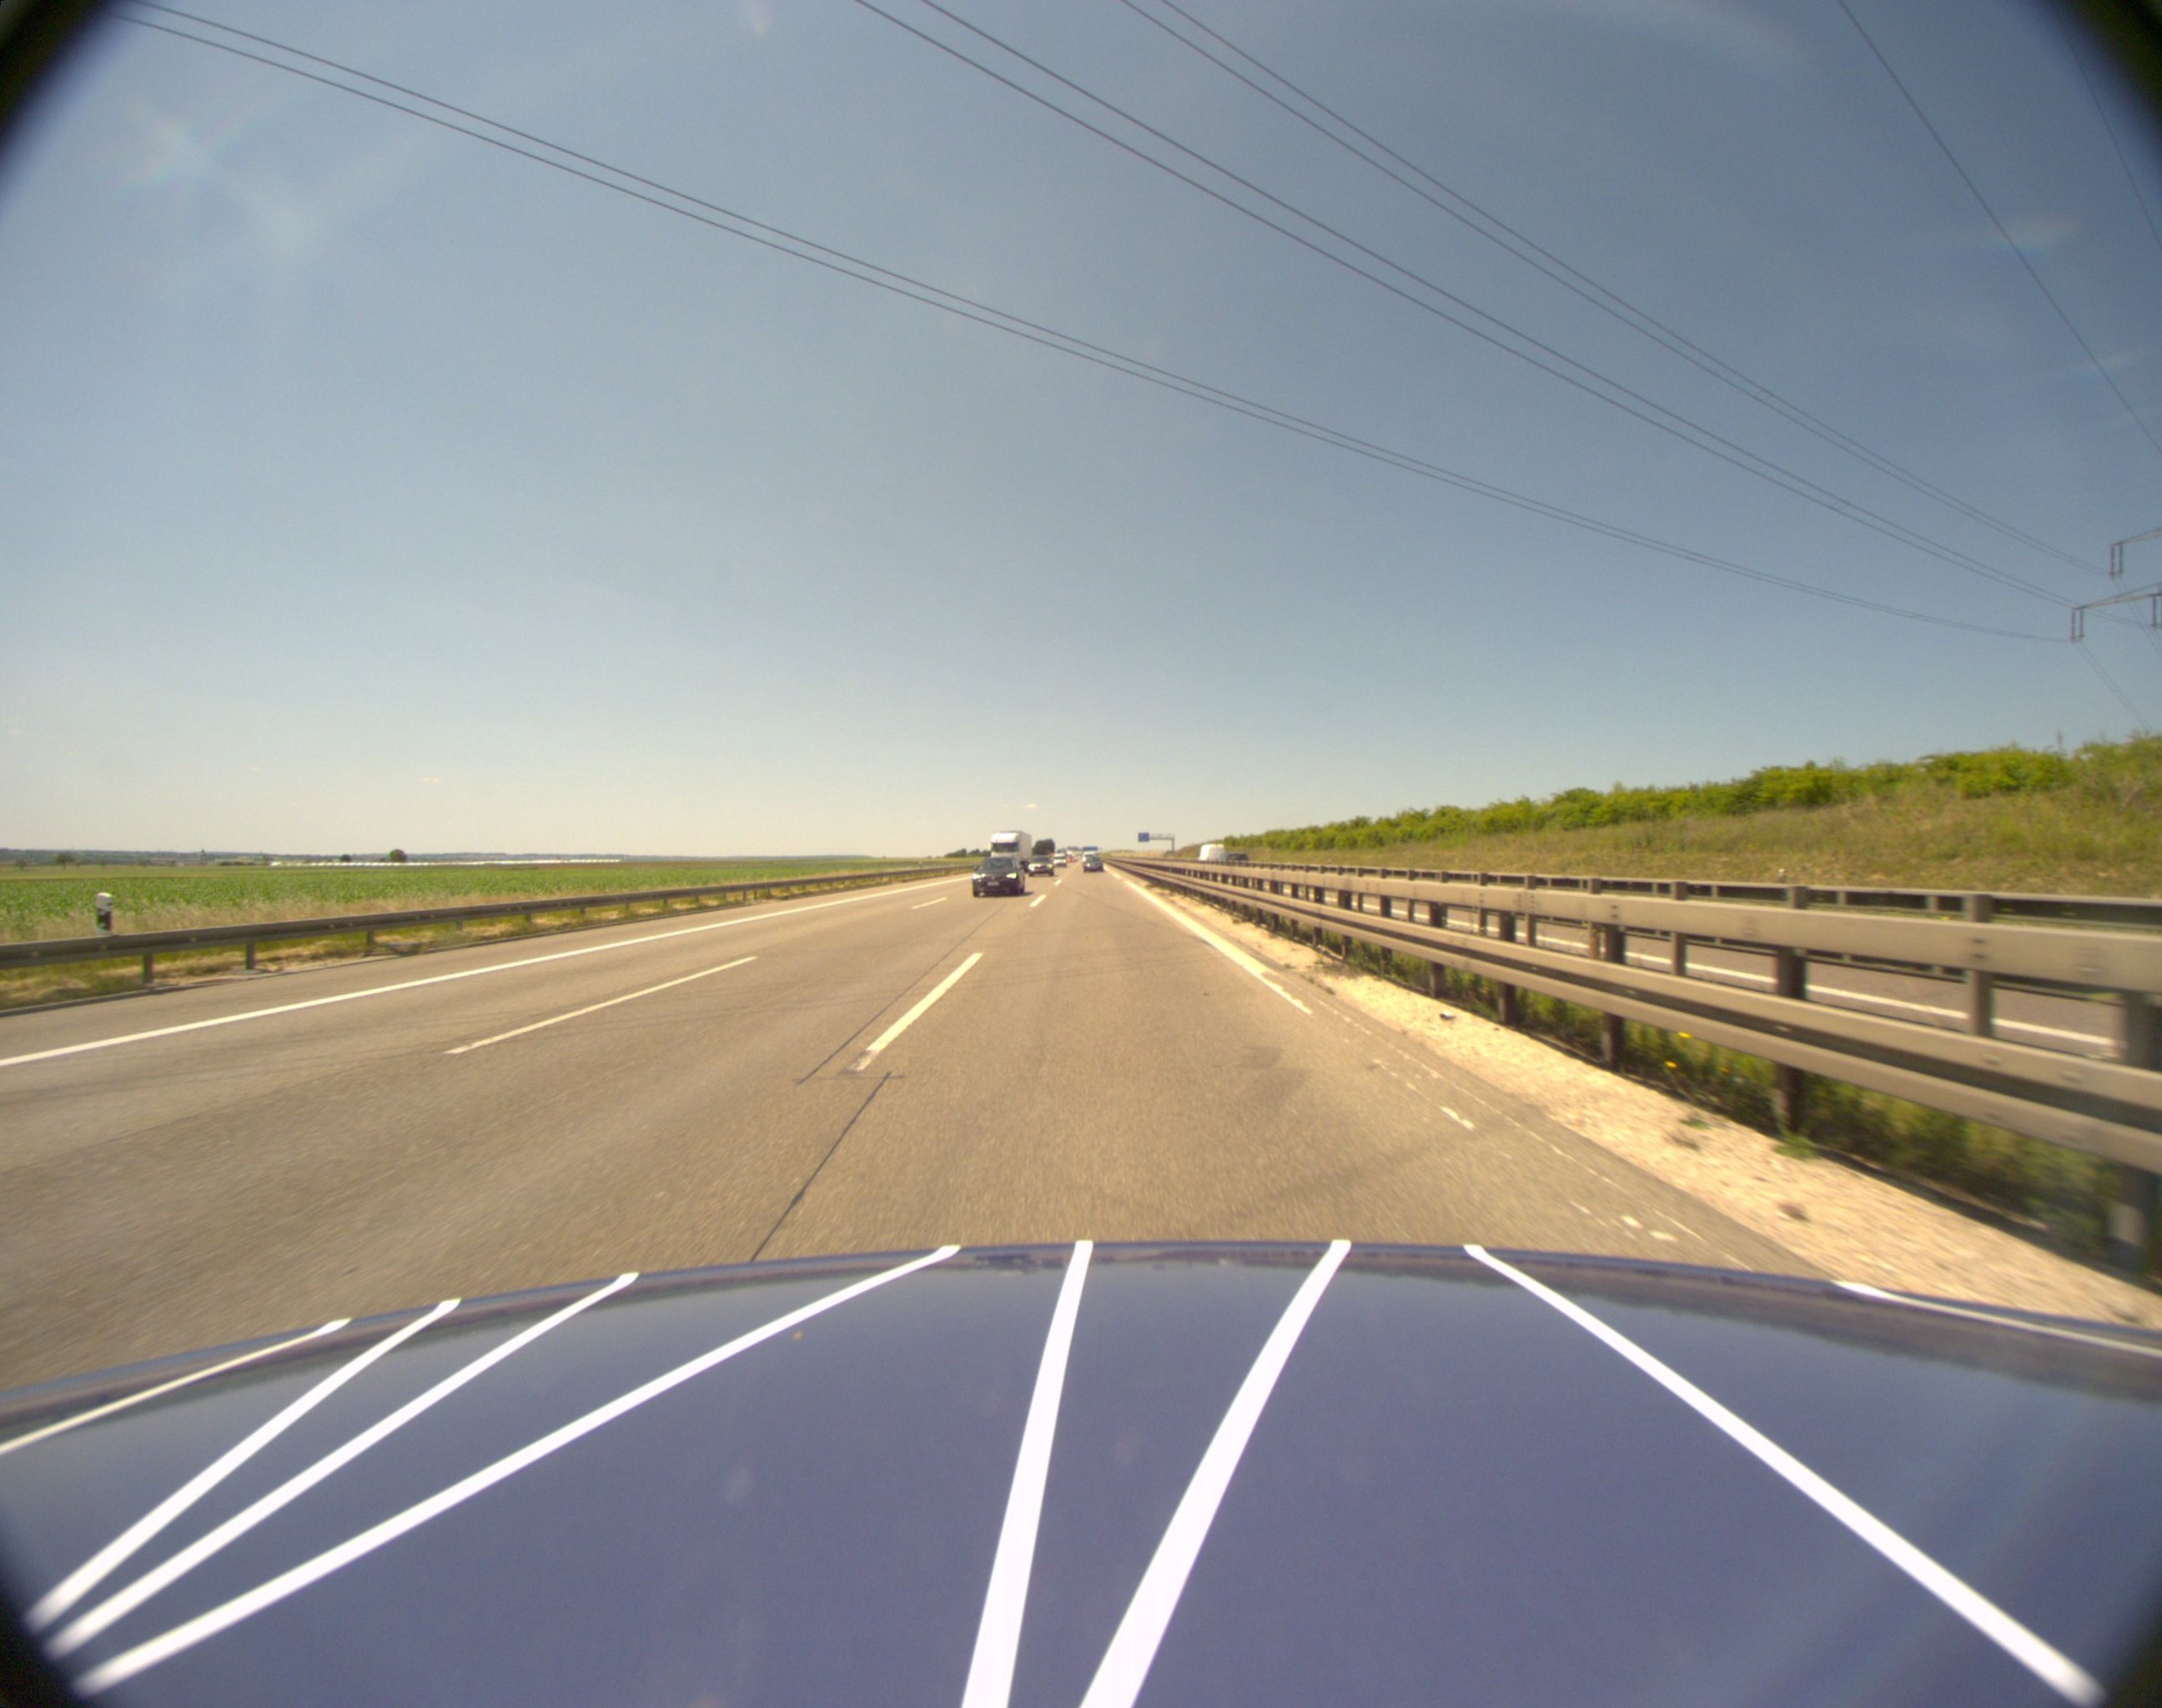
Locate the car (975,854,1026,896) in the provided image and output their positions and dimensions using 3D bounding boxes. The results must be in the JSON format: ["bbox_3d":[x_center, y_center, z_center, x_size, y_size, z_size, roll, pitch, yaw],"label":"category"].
[{"bbox_3d":[-3.257,0.806,31.448,1.801,1.553,3.822,-2,0,-3],"label":"car"}]

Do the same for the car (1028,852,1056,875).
[{"bbox_3d":[-3.004,0.785,59.286,1.856,1.638,4.645,-3,-1,-1],"label":"car"}]

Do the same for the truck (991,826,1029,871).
[{"bbox_3d":[-6.732,-0.515,72.945,2.870,4.067,6.878,-2,1,0],"label":"truck"}]

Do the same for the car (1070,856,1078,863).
[{"bbox_3d":[-1.717,1.343,178.063,1.723,1.514,3.582,-2,0,2],"label":"car"}]

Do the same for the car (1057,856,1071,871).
[{"bbox_3d":[-2.279,1.251,102.569,1.812,1.836,5.311,-1,0,-2],"label":"car"}]

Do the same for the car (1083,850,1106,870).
[{"bbox_3d":[1.103,0.496,65.298,1.715,1.586,4.546,1,0,-2],"label":"car"}]

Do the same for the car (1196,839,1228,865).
[{"bbox_3d":[13.905,-0.220,81.207,2.037,2.590,7.599,-2,0,1],"label":"car"}]

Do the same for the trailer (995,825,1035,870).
[{"bbox_3d":[-6.749,-0.660,80.259,2.875,4.195,13.293,-2,0,0],"label":"trailer"}]

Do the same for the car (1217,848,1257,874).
[{"bbox_3d":[10.306,0.439,50.399,1.843,1.591,4.000,-1,0,1],"label":"car"}]

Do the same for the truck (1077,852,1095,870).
[{"bbox_3d":[0.675,0.923,108.587,2.334,2.378,6.685,-2,0,-2],"label":"truck"}]

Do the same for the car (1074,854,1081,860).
[{"bbox_3d":[-0.964,0.854,204.071,1.724,1.514,3.581,-2,0,-2],"label":"car"}]
